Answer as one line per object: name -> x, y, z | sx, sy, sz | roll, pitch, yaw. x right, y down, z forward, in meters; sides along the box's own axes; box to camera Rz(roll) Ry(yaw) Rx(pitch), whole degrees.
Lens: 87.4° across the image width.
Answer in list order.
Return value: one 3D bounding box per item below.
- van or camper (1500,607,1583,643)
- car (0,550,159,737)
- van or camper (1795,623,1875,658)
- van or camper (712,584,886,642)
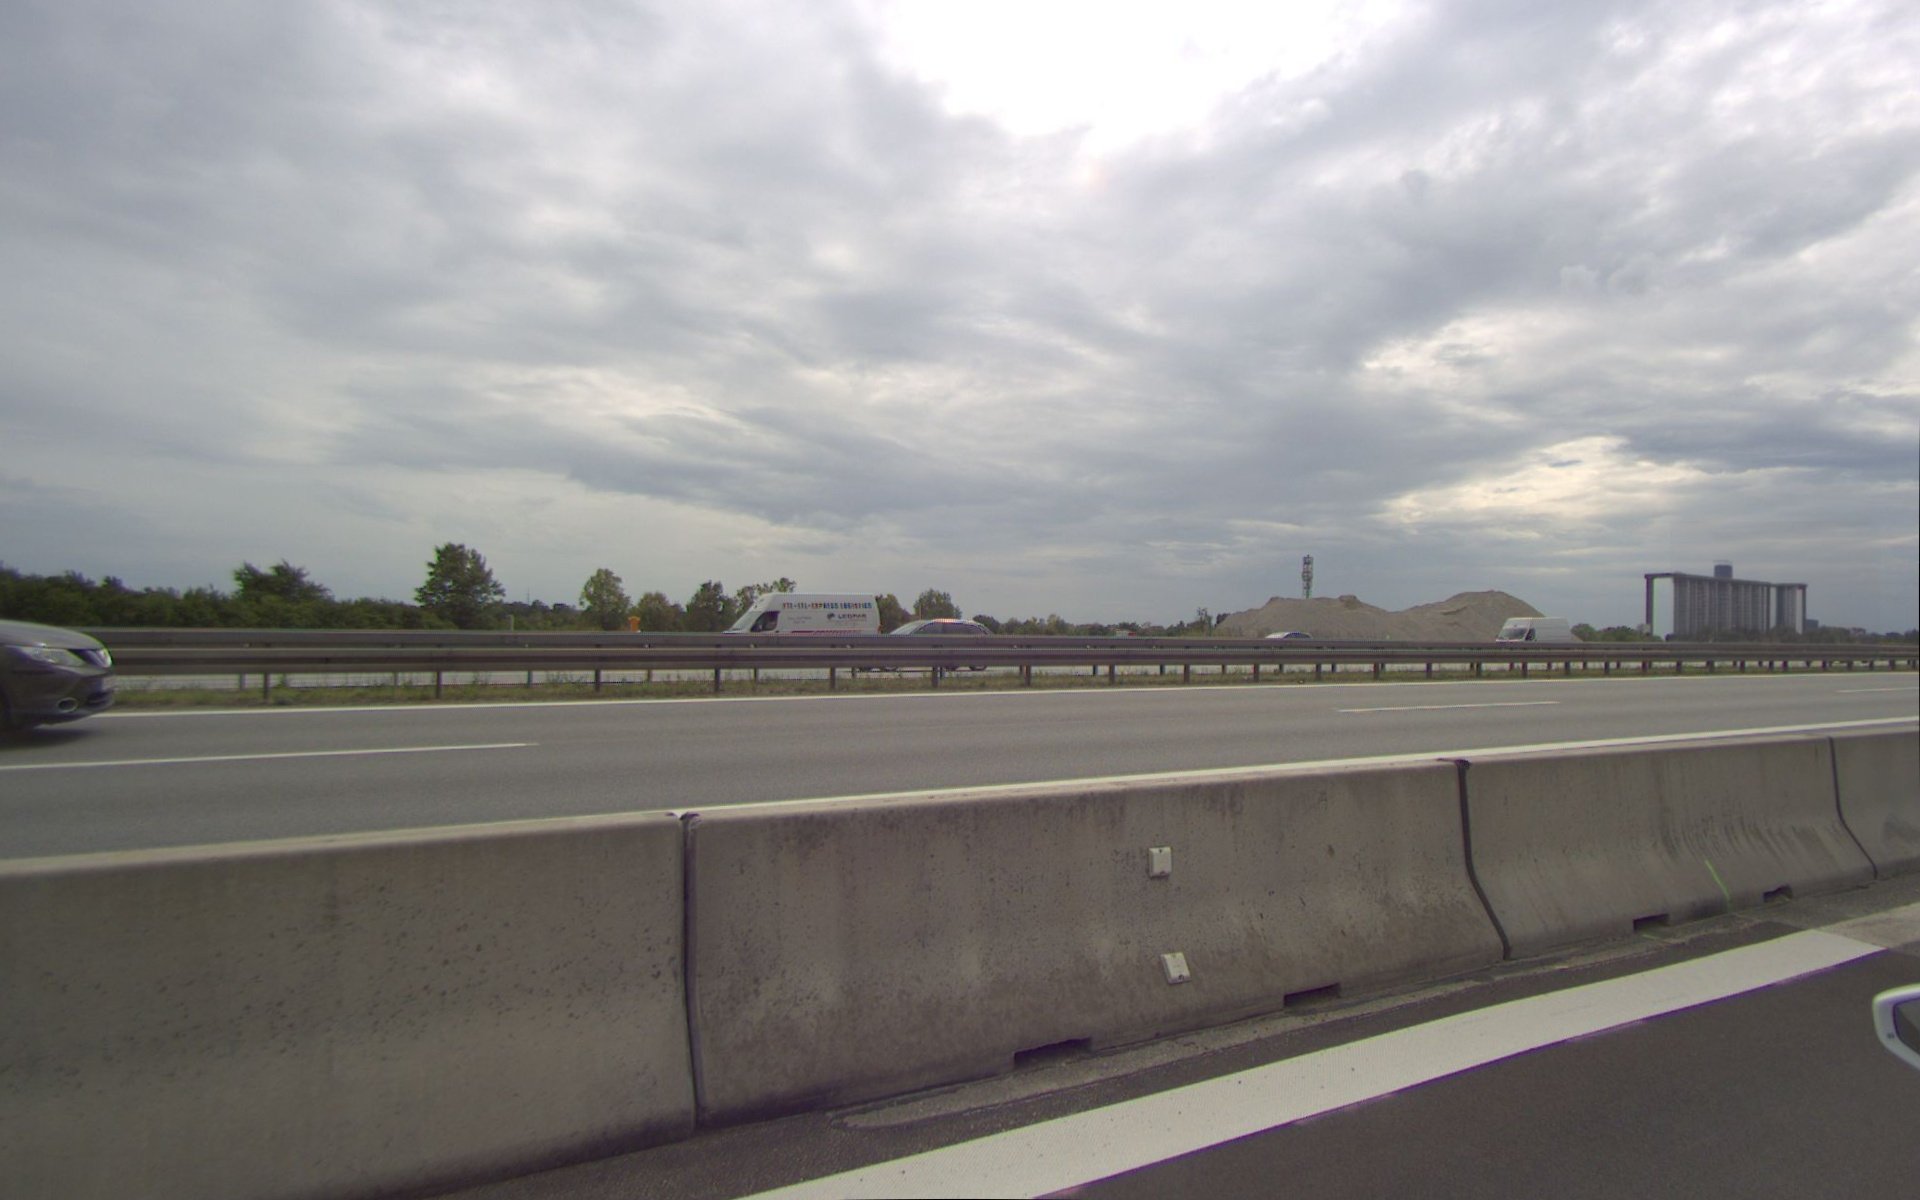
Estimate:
van or camper -> 38.461, 1.665, 66.373 | 5.742, 2.200, 2.176 | 2, 0, -31
car -> -9.992, 0.326, 8.788 | 4.364, 1.619, 1.884 | 2, 0, -29
van or camper -> 49.325, 2.288, 56.621 | 4.294, 1.853, 1.985 | 2, 0, -29
van or camper -> -6.099, 0.531, 38.387 | 6.208, 2.040, 2.223 | 2, 0, -32
